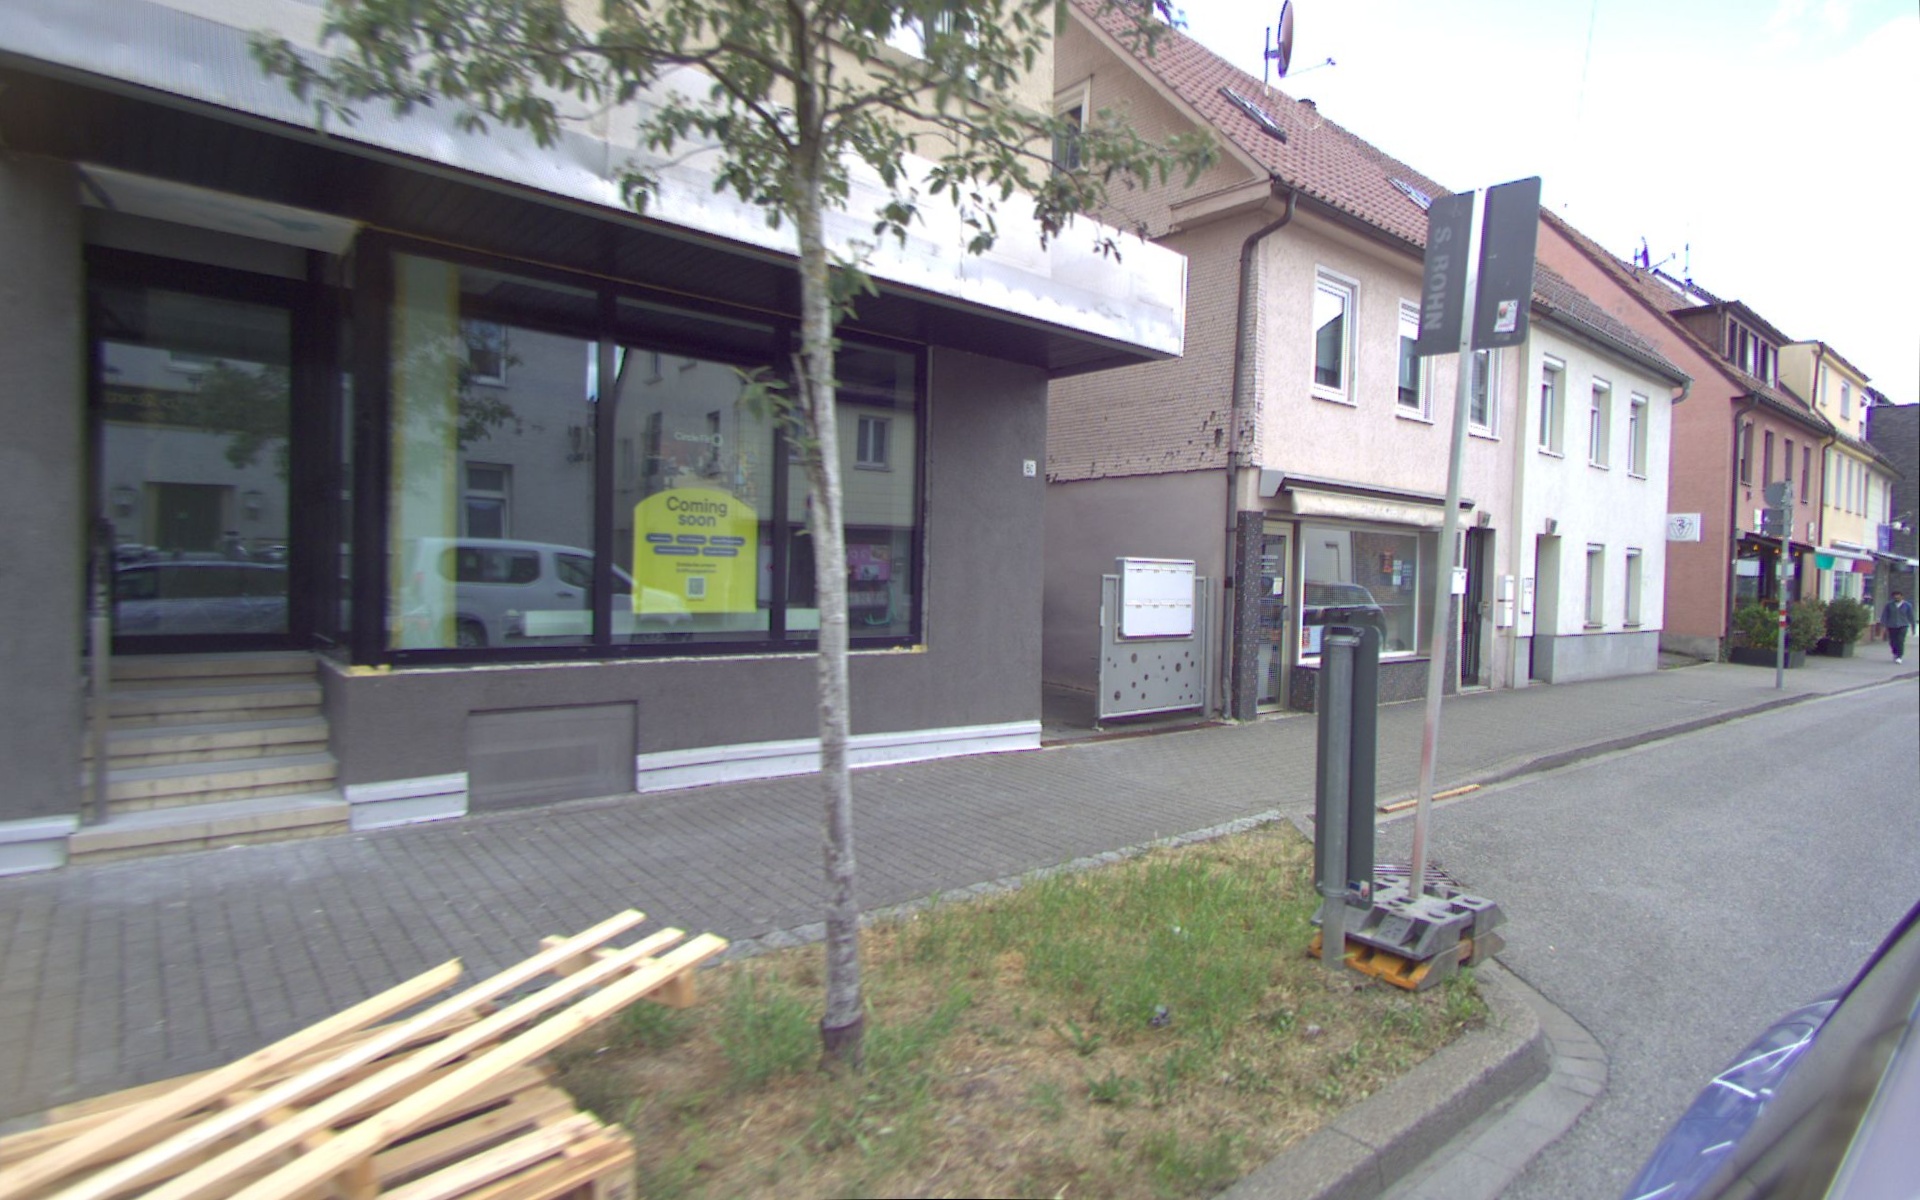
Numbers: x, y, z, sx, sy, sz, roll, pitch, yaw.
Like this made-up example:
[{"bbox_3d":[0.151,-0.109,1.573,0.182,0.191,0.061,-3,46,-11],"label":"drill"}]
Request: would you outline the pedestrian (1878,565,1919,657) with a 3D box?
[{"bbox_3d":[22.516,0.251,24.018,0.993,2.099,0.826,0,5,-41],"label":"pedestrian"}]
